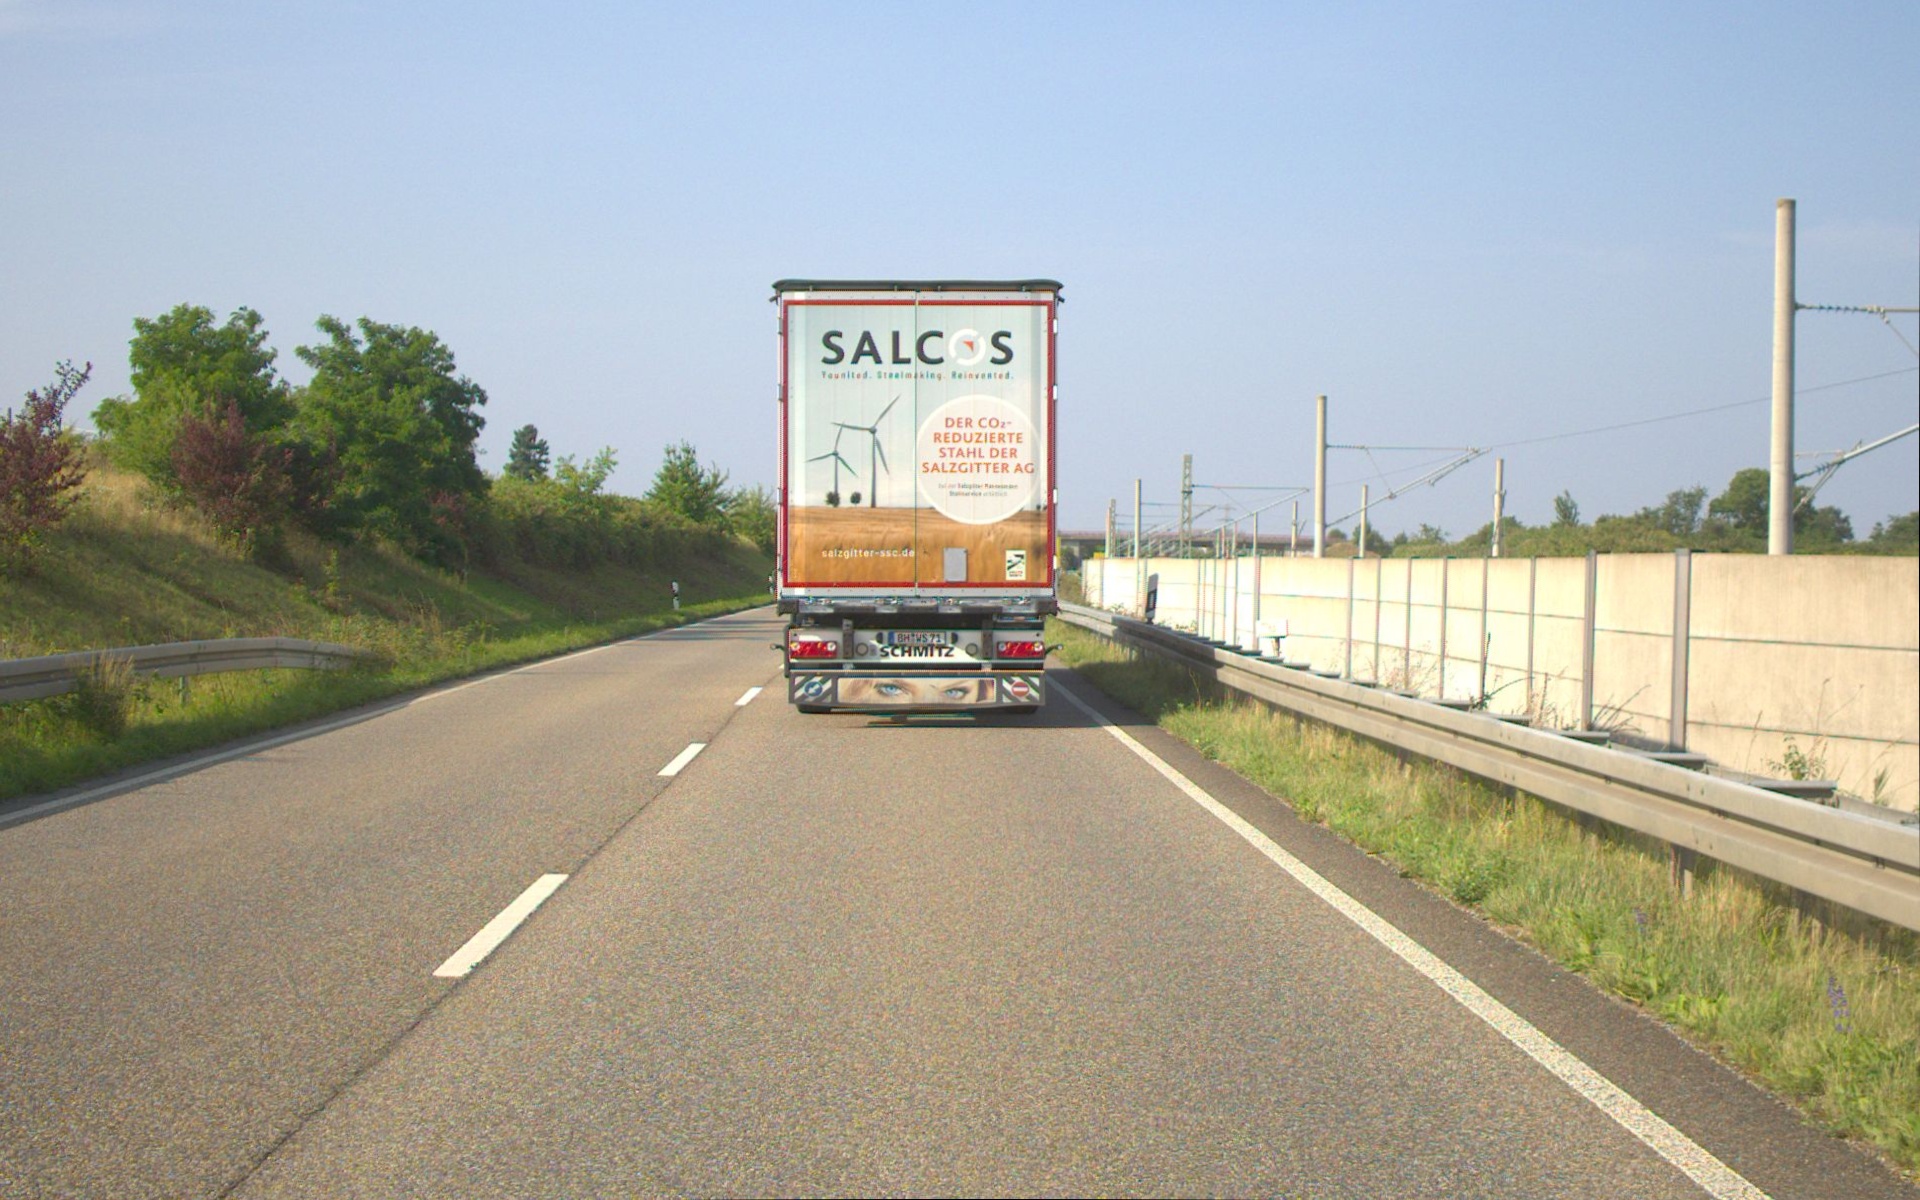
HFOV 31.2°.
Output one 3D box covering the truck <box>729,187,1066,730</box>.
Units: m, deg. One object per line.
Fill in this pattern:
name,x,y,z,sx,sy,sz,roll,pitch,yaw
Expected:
truck,-0.672,-1.397,36.937,3.033,4.903,11.685,0,1,-1
